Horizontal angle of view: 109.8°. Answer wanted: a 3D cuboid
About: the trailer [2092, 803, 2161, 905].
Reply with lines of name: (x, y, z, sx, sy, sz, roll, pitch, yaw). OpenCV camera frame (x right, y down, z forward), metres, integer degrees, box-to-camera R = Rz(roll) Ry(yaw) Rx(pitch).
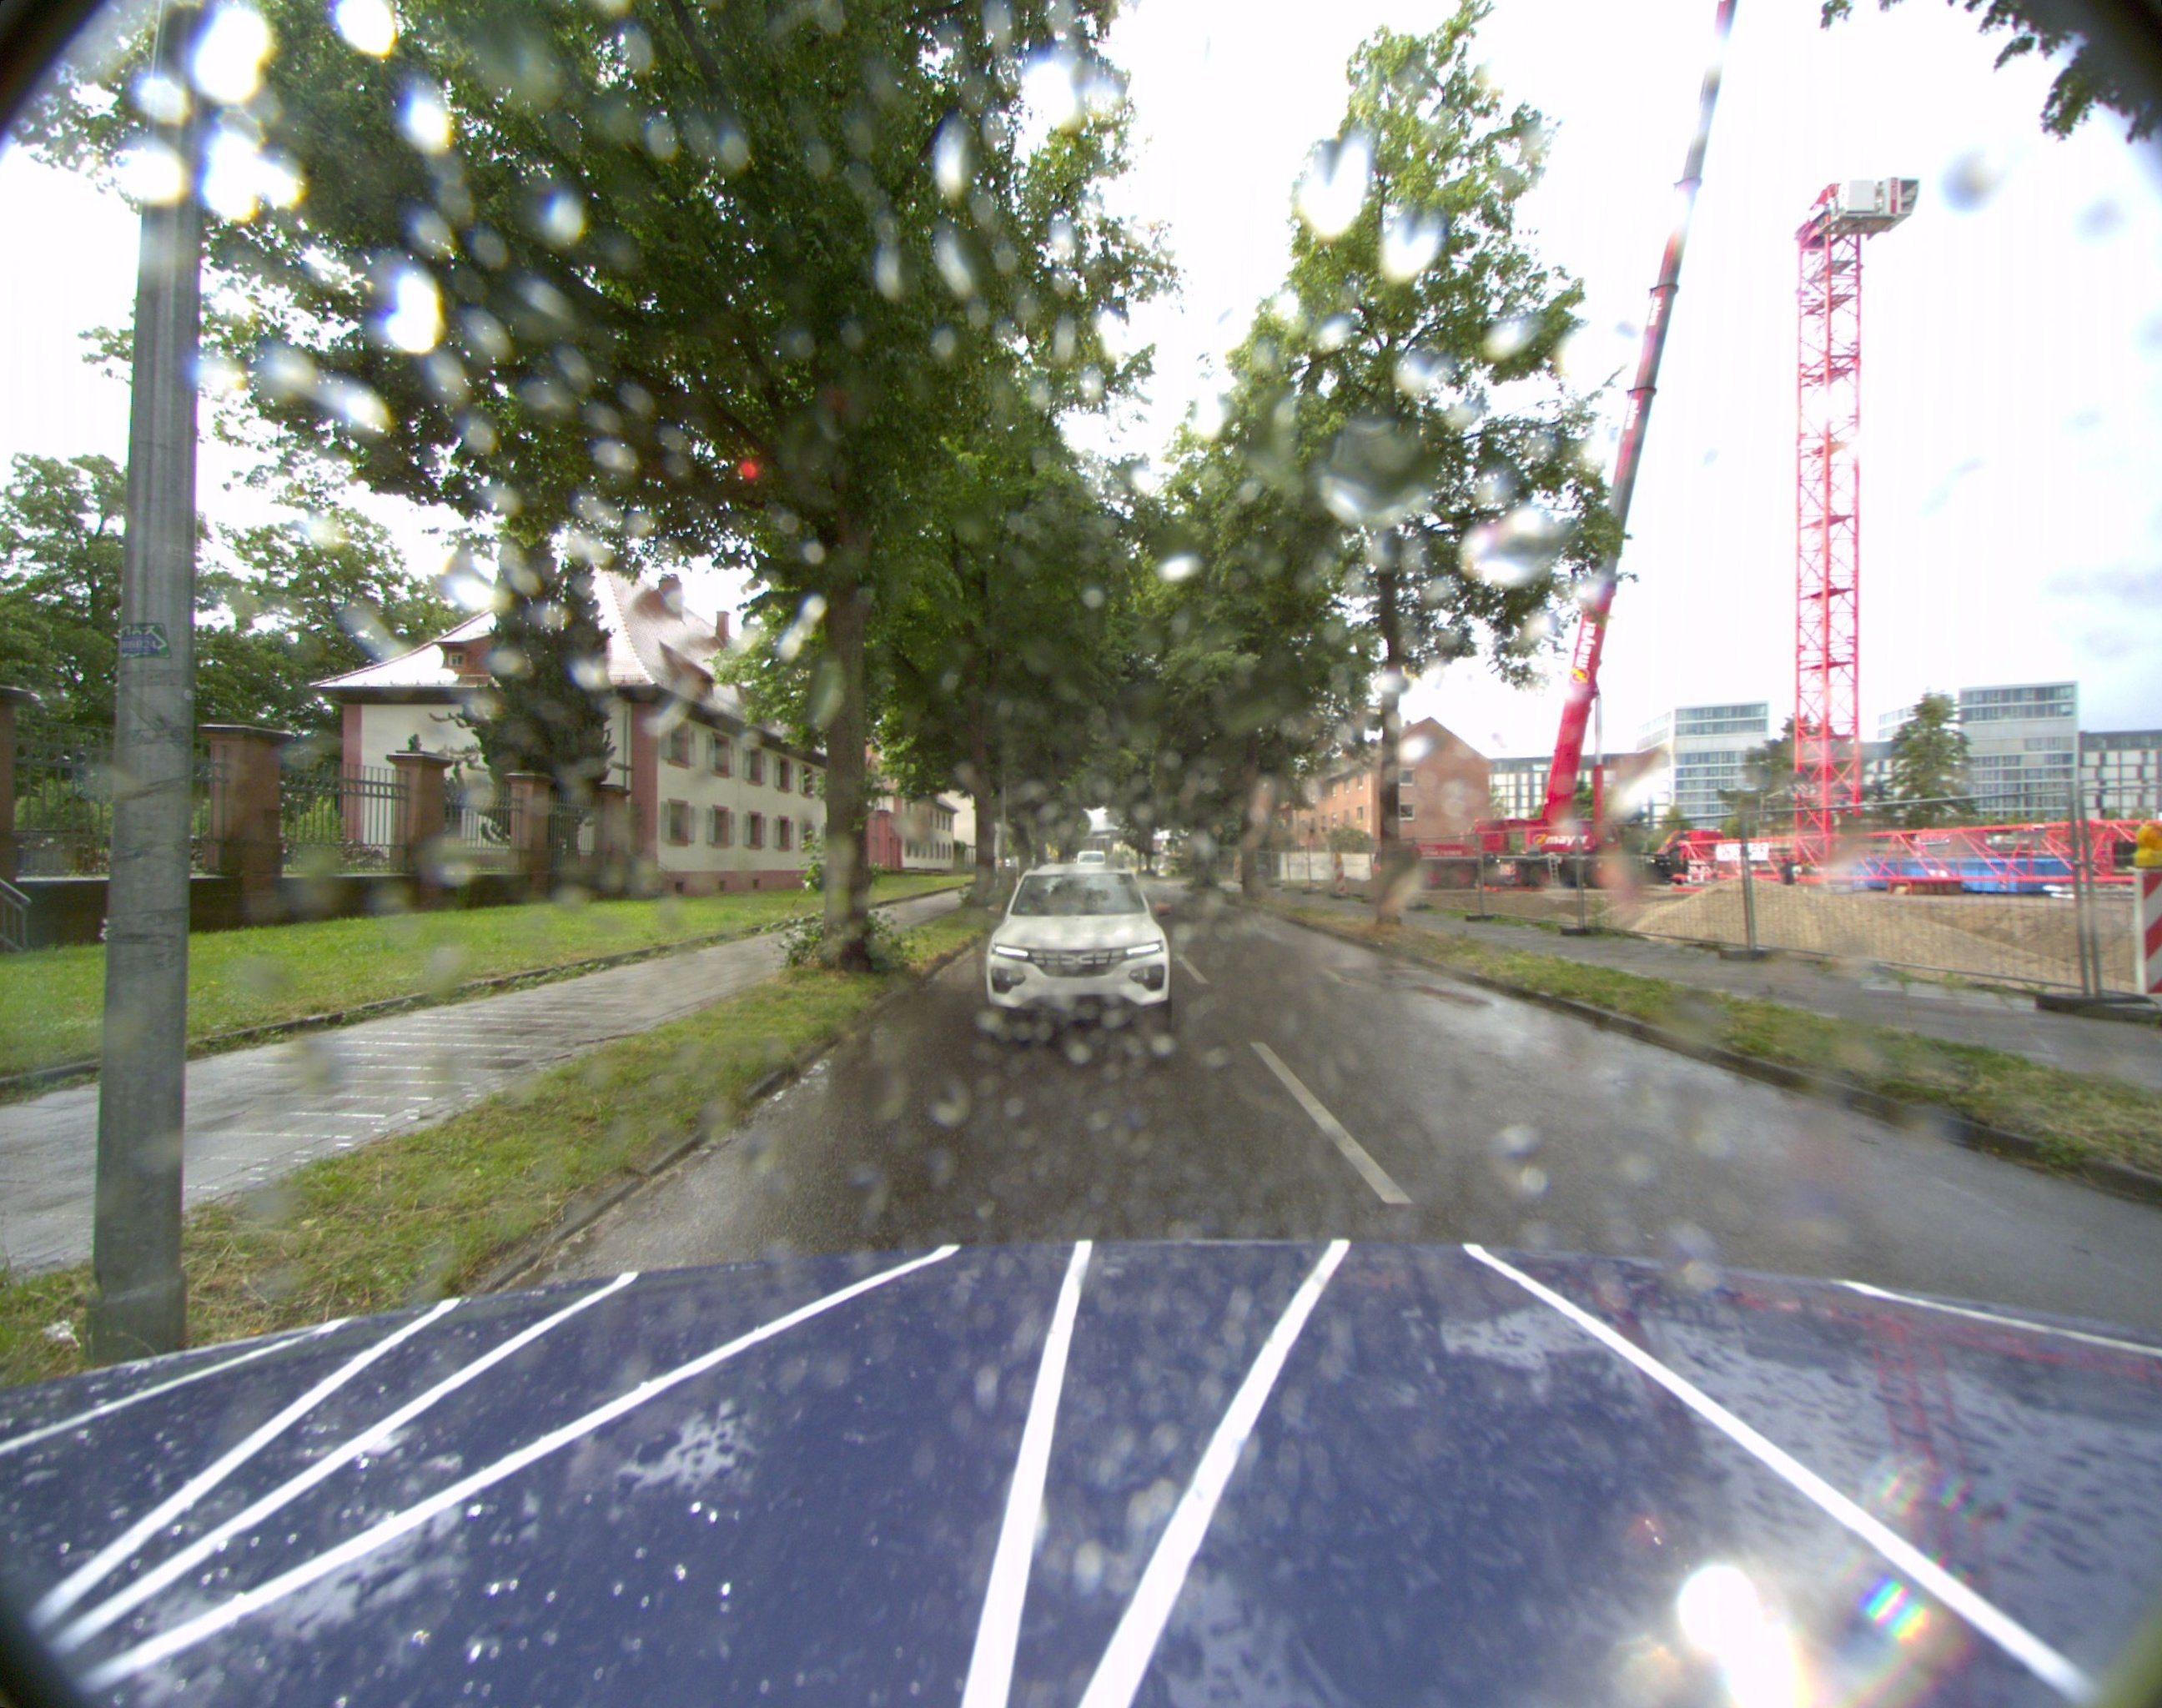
trailer: (35.694, -0.039, 18.547, 2.968, 3.214, 14.309, -4, 0, 0)

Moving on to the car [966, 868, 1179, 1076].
car: (-0.027, 0.947, 7.852, 1.608, 1.499, 4.000, -1, 0, 1)

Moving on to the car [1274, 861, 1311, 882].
car: (16.587, 1.365, 59.873, 1.693, 1.521, 3.999, -2, 0, -1)

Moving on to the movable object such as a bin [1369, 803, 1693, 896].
movable object such as a bin: (24.938, -0.224, 42.829, 15.941, 4.532, 3.102, -2, 1, 4)

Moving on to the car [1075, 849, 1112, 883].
car: (0.734, 0.683, 48.740, 2.107, 1.990, 5.433, -2, 0, -1)
